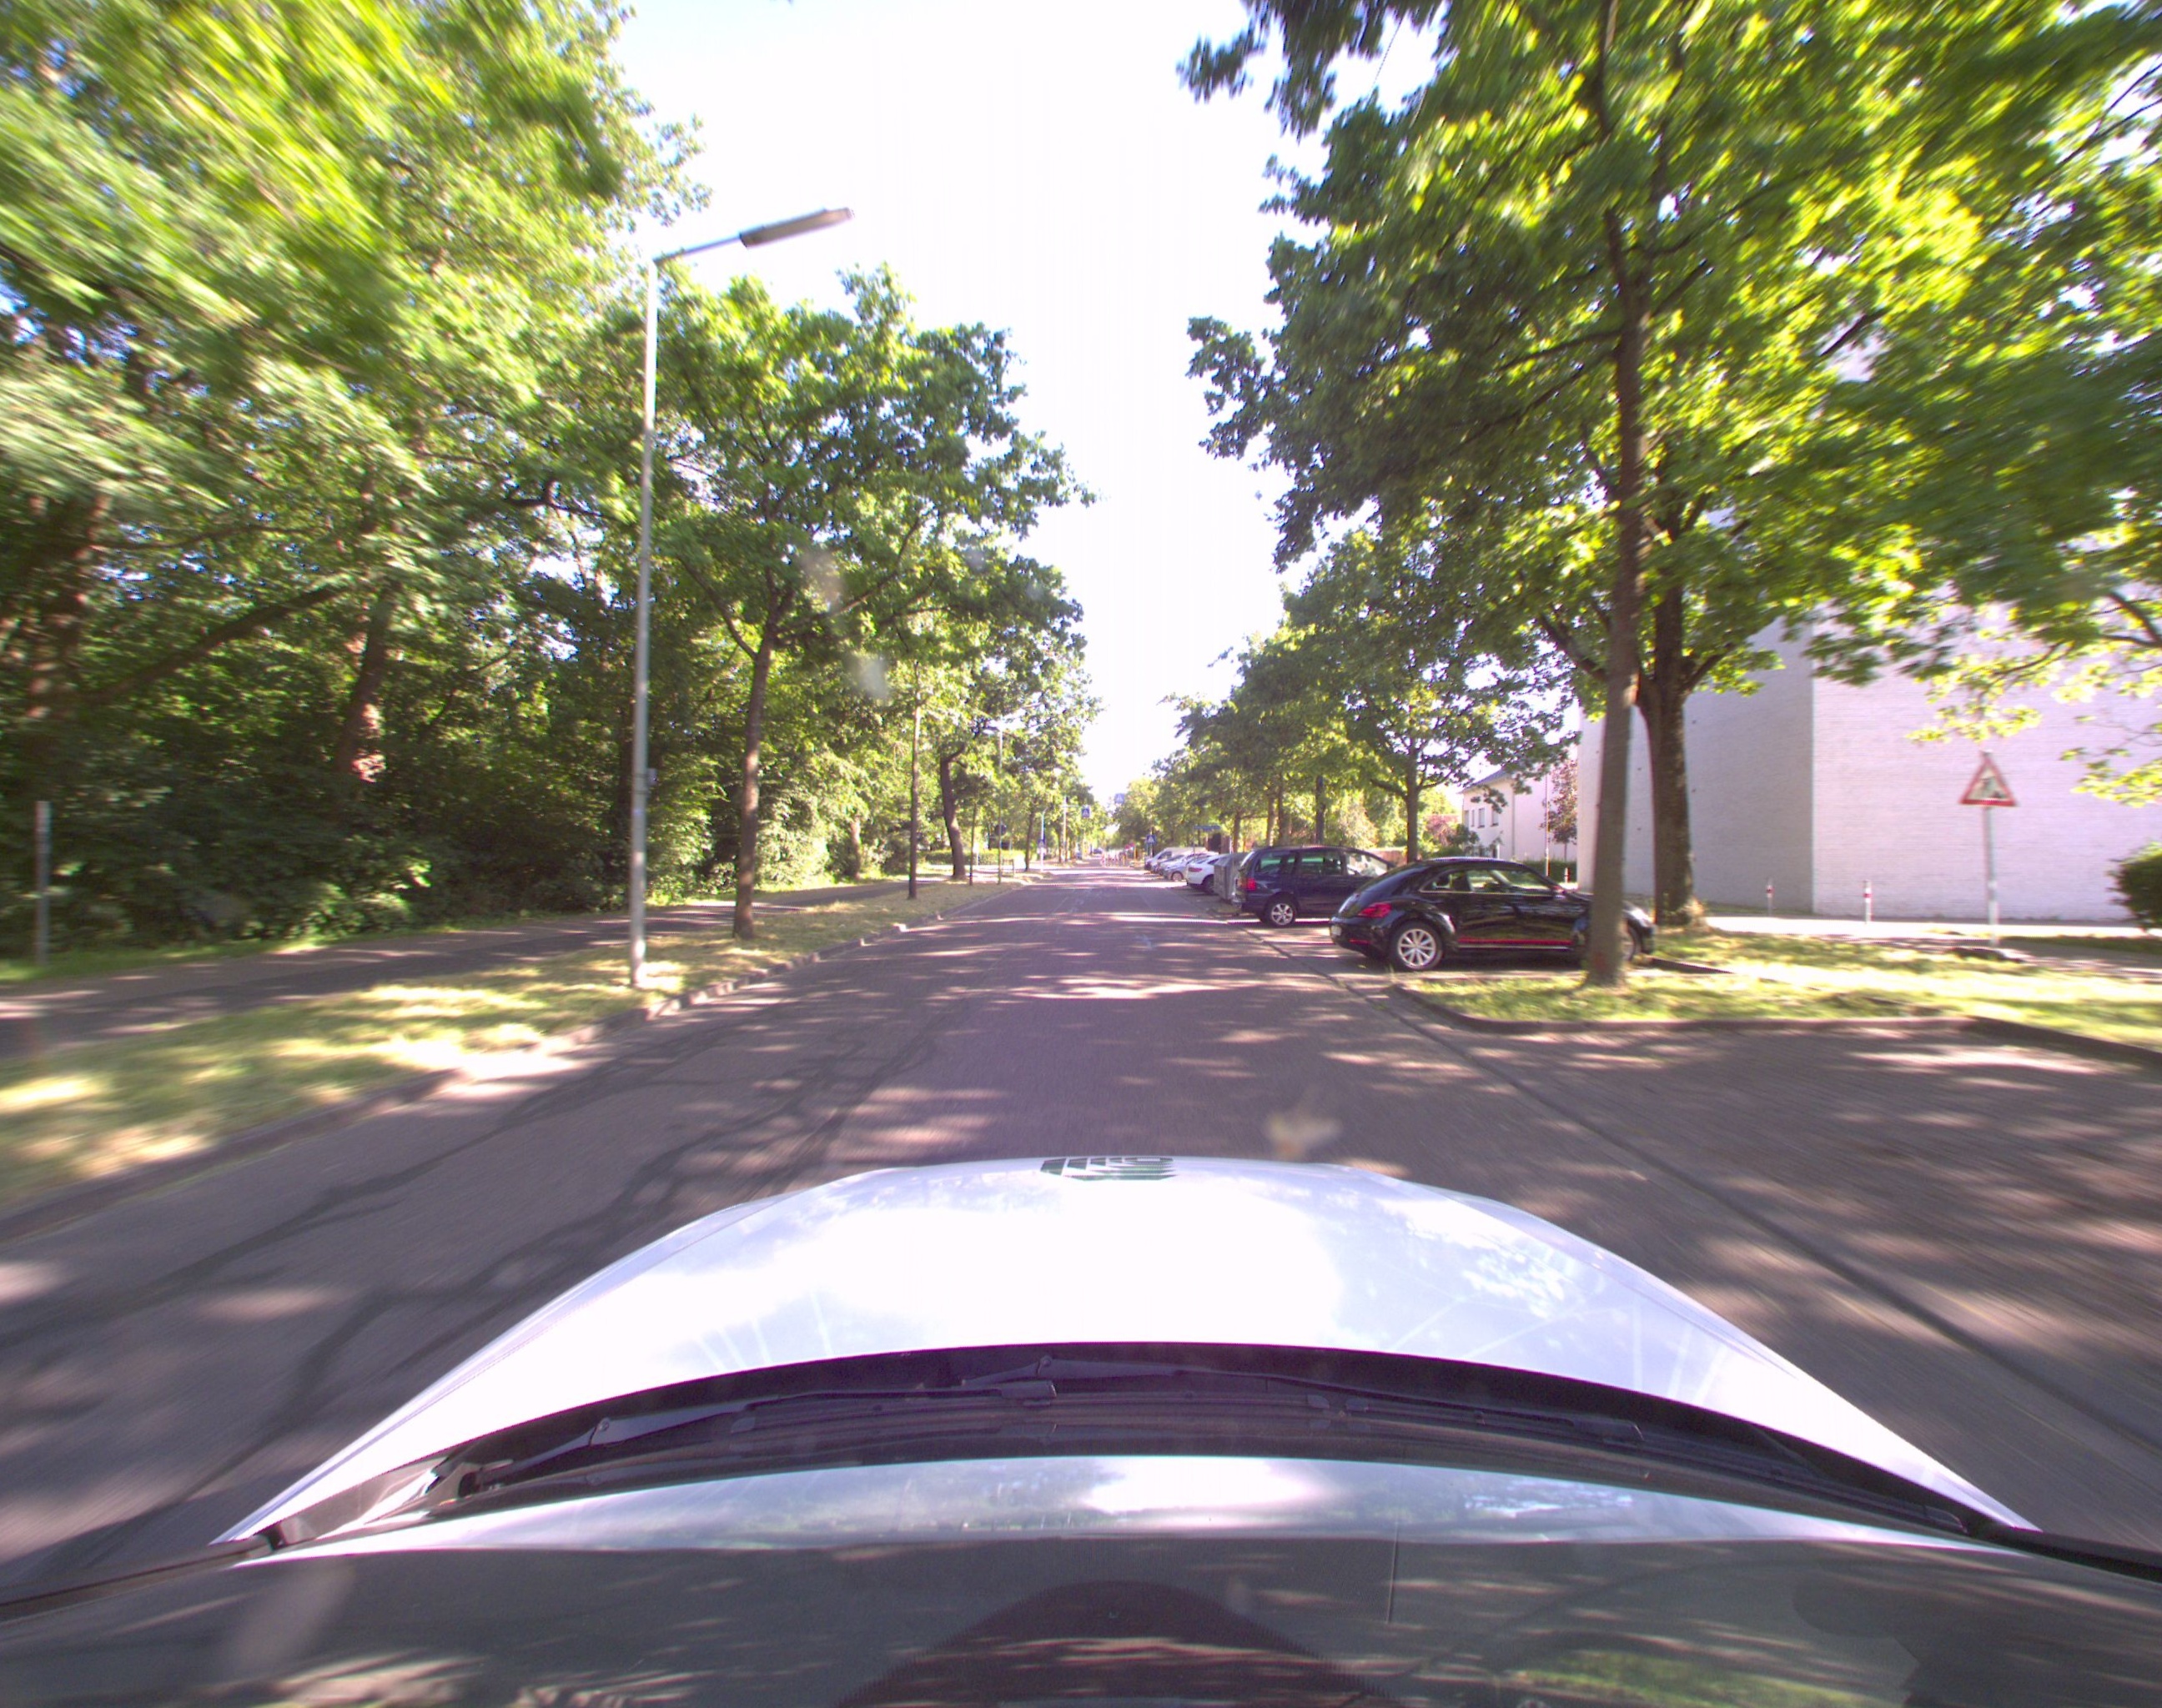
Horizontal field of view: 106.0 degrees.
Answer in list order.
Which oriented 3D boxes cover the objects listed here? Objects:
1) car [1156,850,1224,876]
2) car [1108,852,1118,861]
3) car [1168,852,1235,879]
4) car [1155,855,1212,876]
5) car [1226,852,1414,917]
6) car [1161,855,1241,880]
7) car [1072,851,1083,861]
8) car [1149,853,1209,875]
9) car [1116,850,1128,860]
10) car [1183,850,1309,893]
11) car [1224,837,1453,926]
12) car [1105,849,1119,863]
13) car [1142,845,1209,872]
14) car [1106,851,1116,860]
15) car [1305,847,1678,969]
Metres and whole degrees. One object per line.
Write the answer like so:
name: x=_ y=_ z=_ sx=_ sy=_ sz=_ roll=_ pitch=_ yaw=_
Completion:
car: x=7.330 y=0.595 z=55.162 sx=4.370 sy=1.651 sz=1.851 roll=-1 pitch=0 yaw=0
car: x=6.192 y=0.457 z=158.114 sx=1.986 sy=1.716 sz=4.001 roll=1 pitch=0 yaw=1
car: x=7.422 y=0.701 z=50.497 sx=3.871 sy=1.497 sz=1.778 roll=-1 pitch=0 yaw=1
car: x=7.226 y=0.778 z=57.701 sx=3.970 sy=1.433 sz=1.903 roll=0 pitch=0 yaw=3
car: x=5.840 y=0.721 z=20.291 sx=4.203 sy=1.472 sz=1.802 roll=-1 pitch=0 yaw=3
car: x=6.962 y=0.775 z=47.559 sx=4.428 sy=1.390 sz=1.912 roll=0 pitch=0 yaw=1
car: x=-0.638 y=0.294 z=148.653 sx=1.986 sy=1.716 sz=4.001 roll=1 pitch=0 yaw=1
car: x=7.245 y=0.715 z=60.368 sx=4.199 sy=1.568 sz=1.933 roll=1 pitch=0 yaw=0
car: x=7.218 y=0.228 z=142.320 sx=1.986 sy=1.716 sz=4.001 roll=1 pitch=0 yaw=1
car: x=6.449 y=0.678 z=32.273 sx=4.652 sy=1.580 sz=1.918 roll=-1 pitch=0 yaw=2
car: x=5.571 y=0.581 z=18.087 sx=4.512 sy=1.801 sz=1.937 roll=-1 pitch=0 yaw=2
car: x=4.555 y=0.263 z=121.208 sx=1.986 sy=1.933 sz=4.001 roll=1 pitch=0 yaw=1
car: x=7.564 y=0.344 z=65.476 sx=5.170 sy=2.105 sz=2.082 roll=0 pitch=0 yaw=0
car: x=6.339 y=0.337 z=171.940 sx=1.986 sy=1.968 sz=4.001 roll=1 pitch=0 yaw=1
car: x=5.541 y=0.703 z=11.510 sx=4.227 sy=1.519 sz=2.080 roll=-1 pitch=0 yaw=3
